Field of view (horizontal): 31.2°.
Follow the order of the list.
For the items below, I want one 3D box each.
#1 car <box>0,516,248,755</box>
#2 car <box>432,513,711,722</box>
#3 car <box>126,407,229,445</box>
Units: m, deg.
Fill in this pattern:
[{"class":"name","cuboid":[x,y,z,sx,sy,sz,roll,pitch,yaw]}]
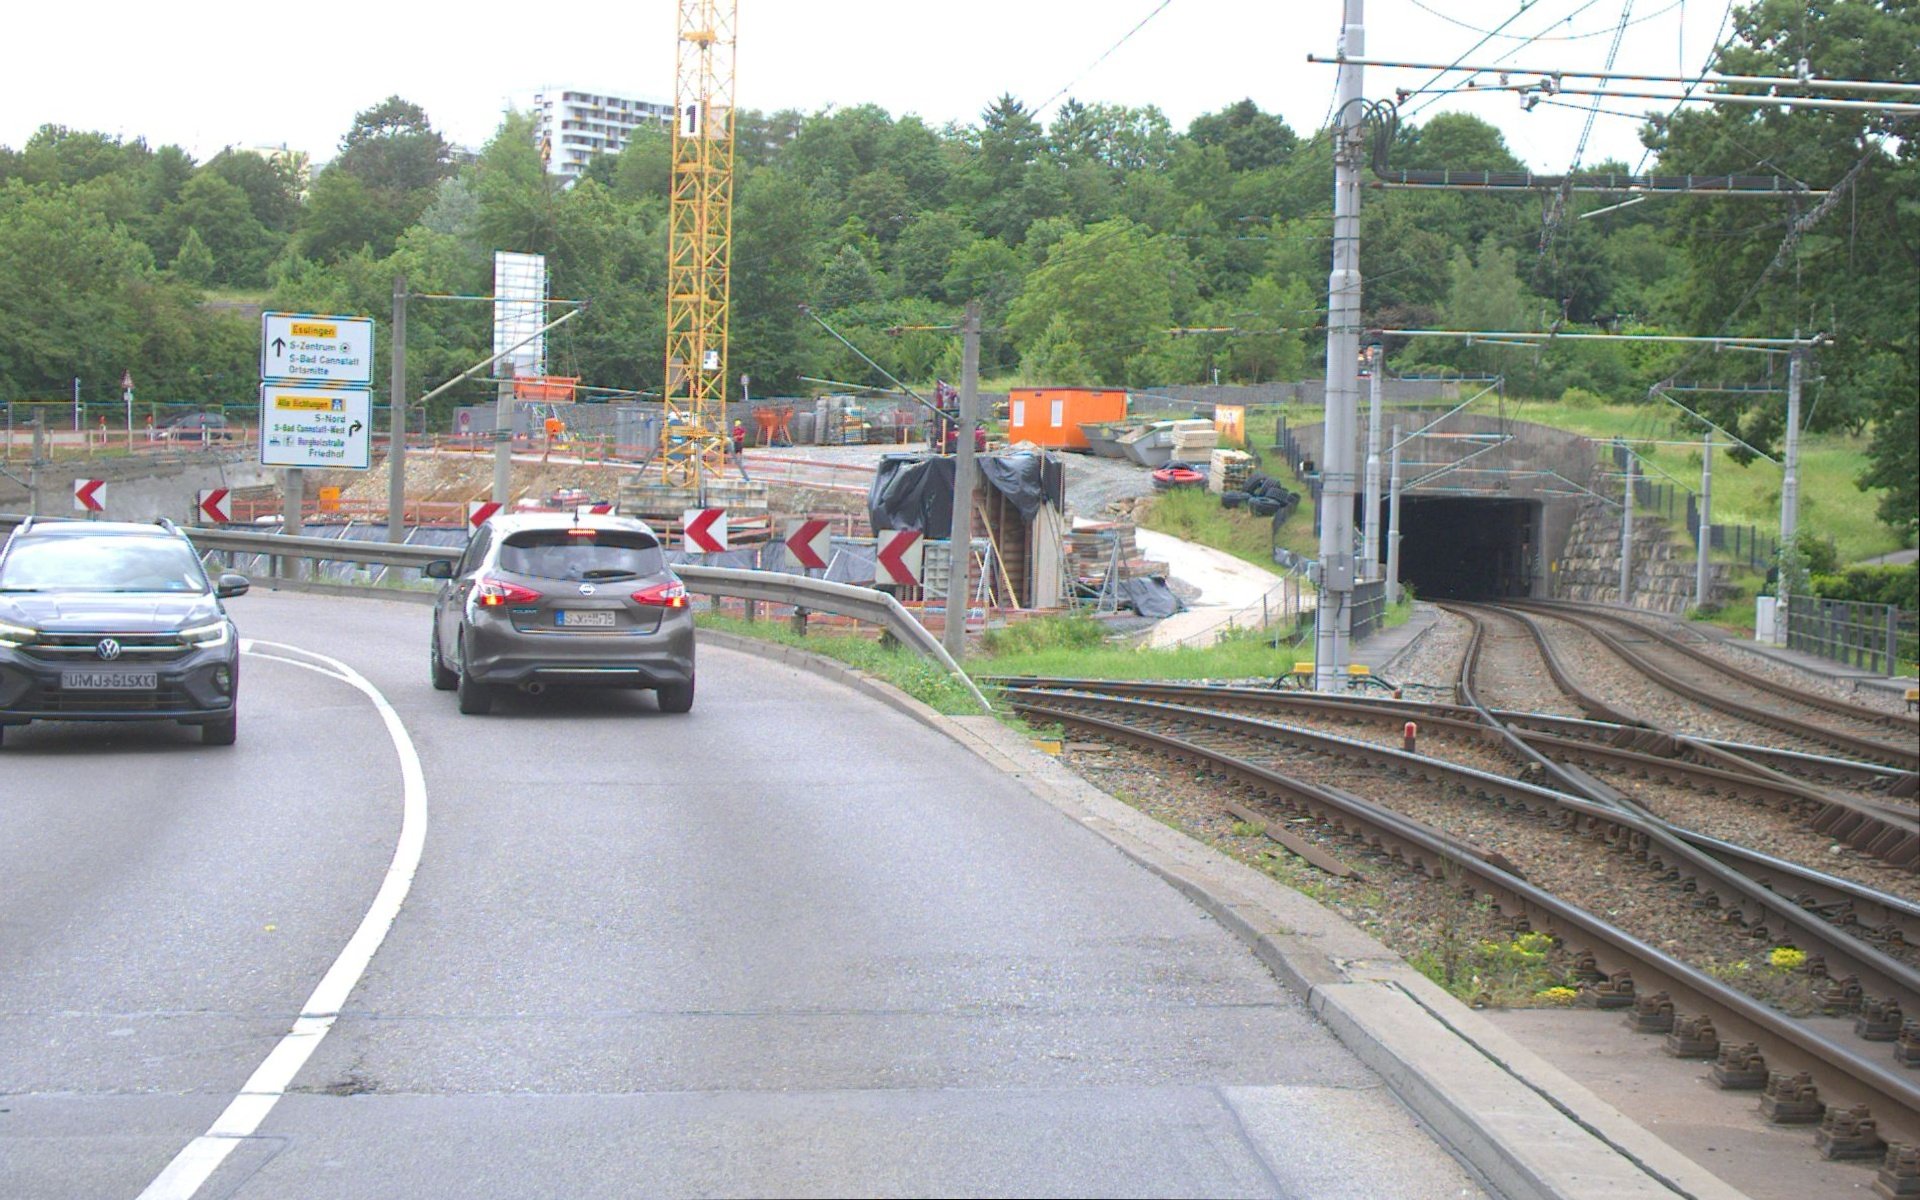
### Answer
[{"class":"car","cuboid":[-5.894,0.175,23.931,1.829,1.504,4.001,0,2,-12]},{"class":"car","cuboid":[-3.158,0.083,27.299,1.829,1.504,4.001,1,1,-12]},{"class":"car","cuboid":[-33.224,-7.385,145.936,3.993,1.405,1.797,3,1,26]}]
